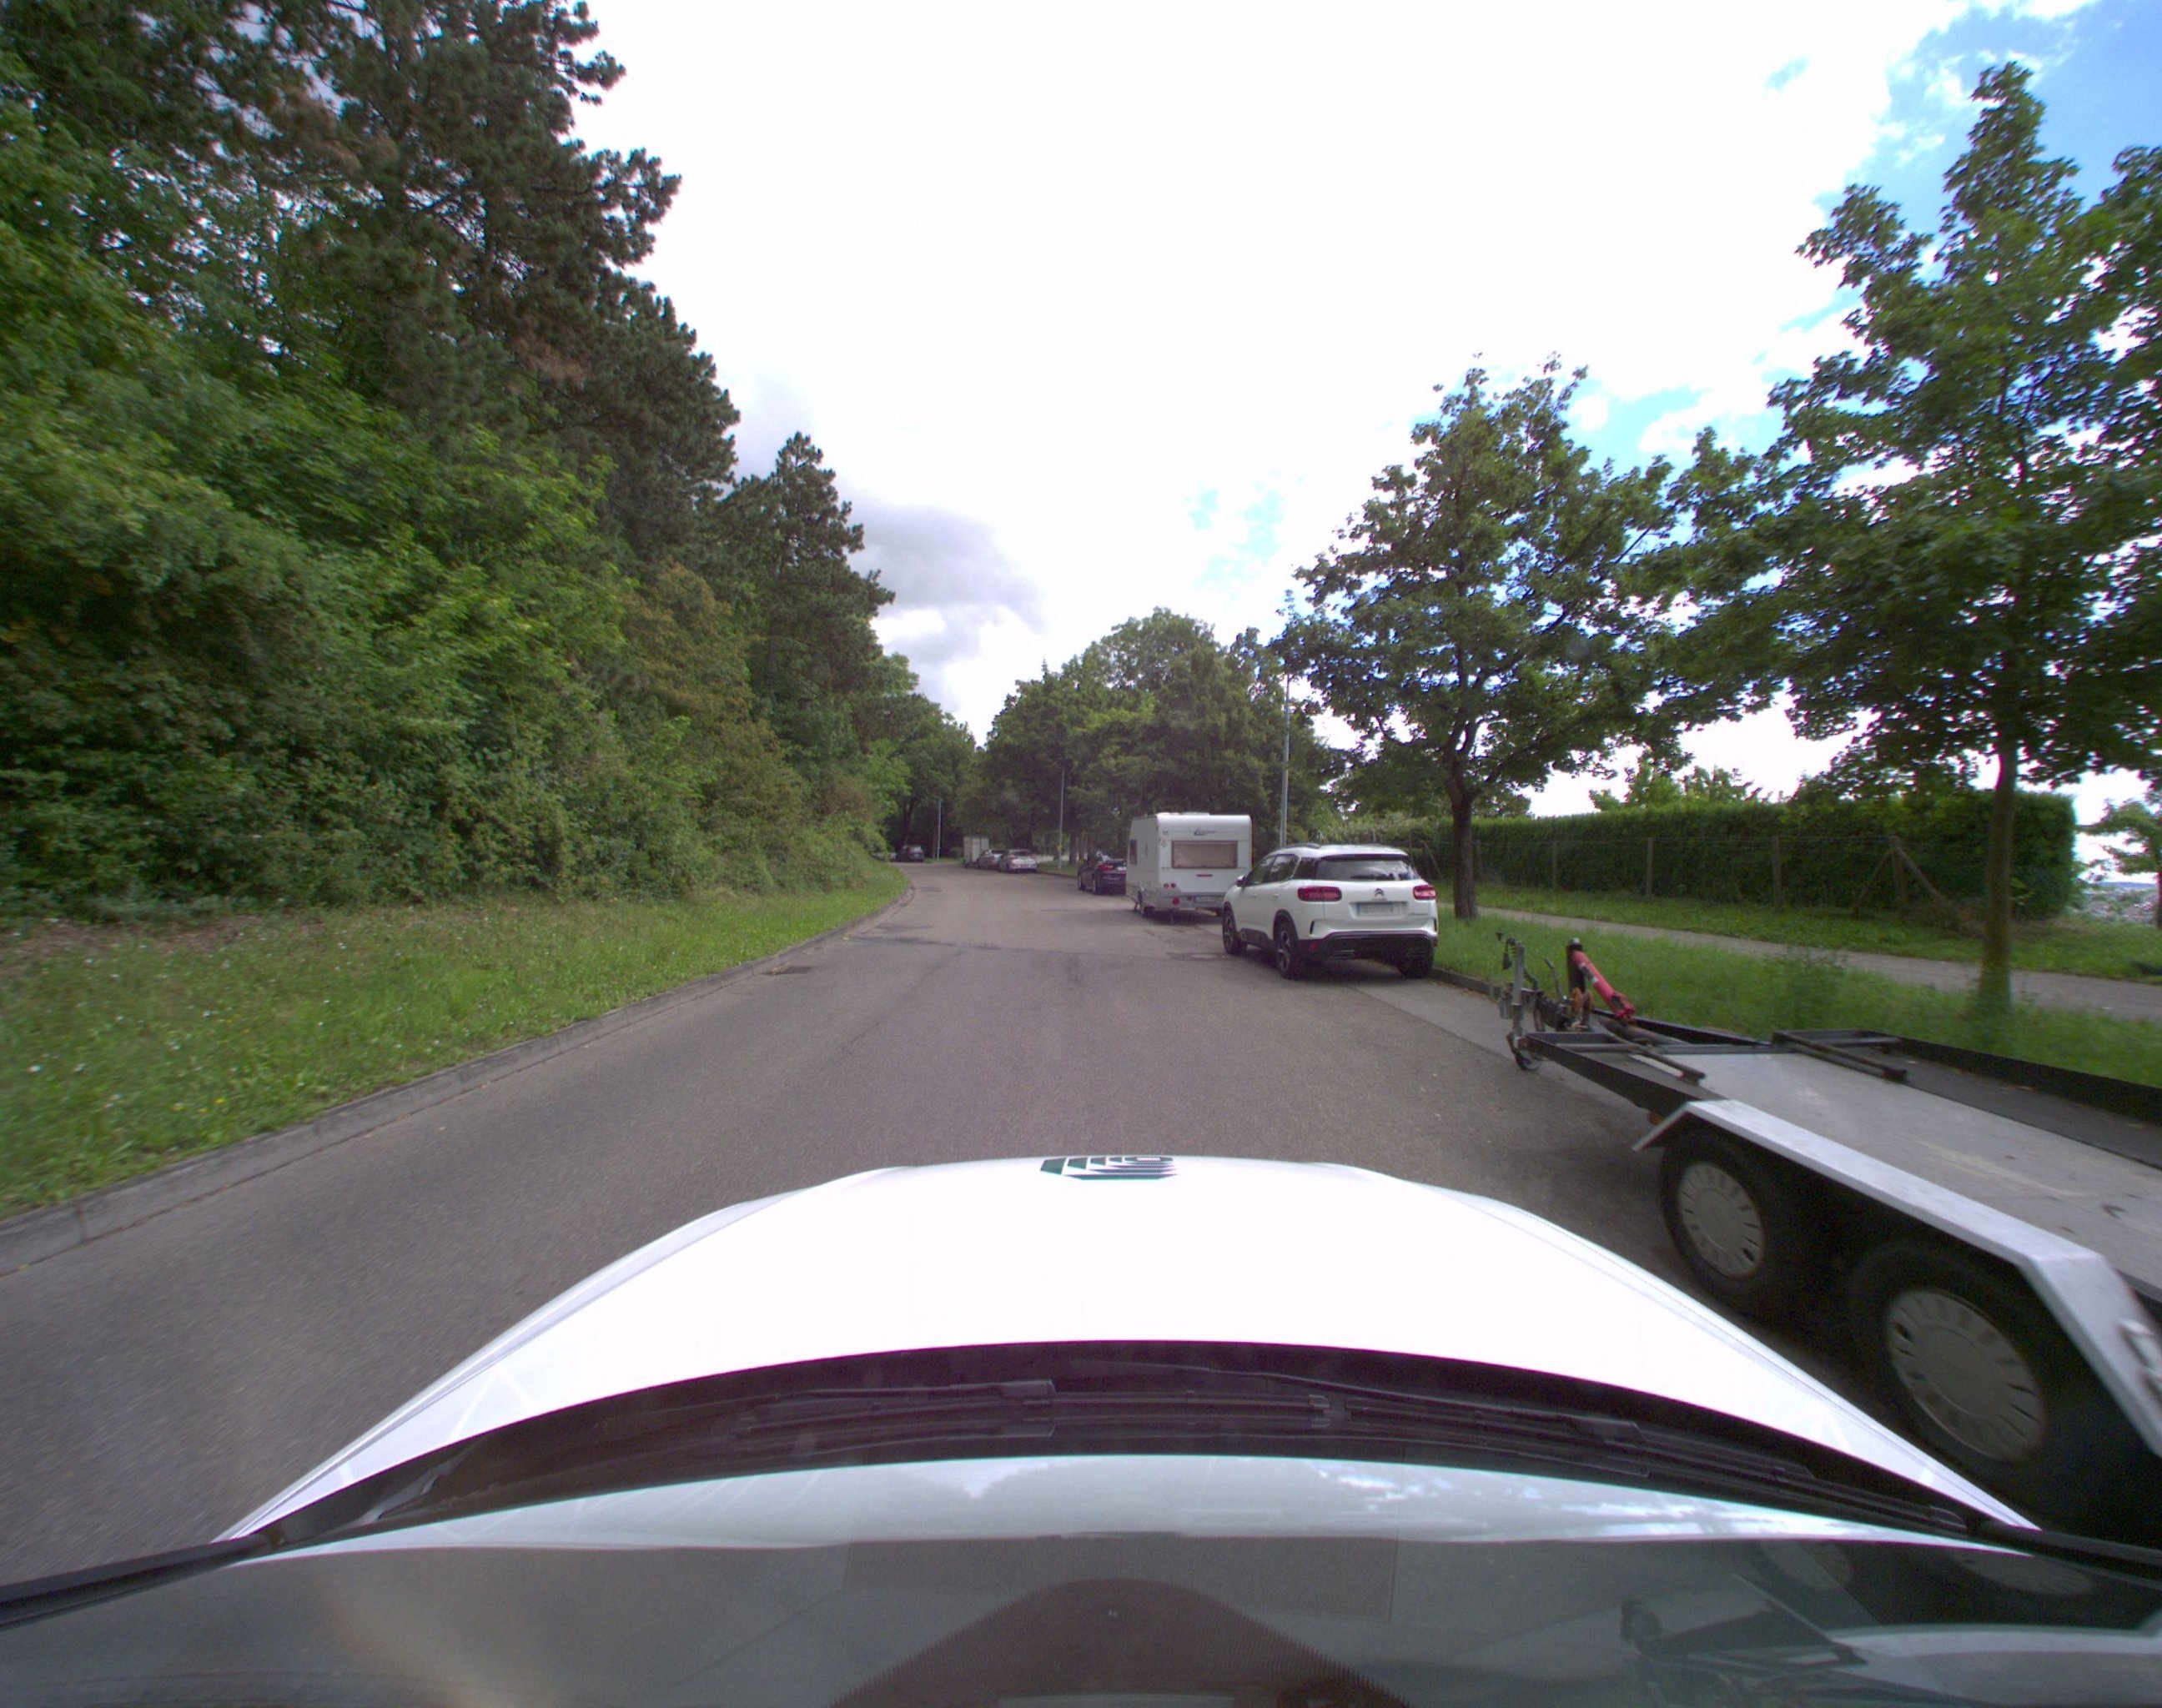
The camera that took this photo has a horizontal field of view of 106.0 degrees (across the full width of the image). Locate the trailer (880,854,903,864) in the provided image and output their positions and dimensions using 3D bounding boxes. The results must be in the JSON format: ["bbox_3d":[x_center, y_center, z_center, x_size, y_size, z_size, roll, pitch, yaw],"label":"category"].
[{"bbox_3d":[-19.684,0.480,84.339,1.365,0.969,3.857,2,0,-28],"label":"trailer"}]

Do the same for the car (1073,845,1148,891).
[{"bbox_3d":[1.023,0.478,31.020,1.849,1.643,4.513,0,0,-11],"label":"car"}]

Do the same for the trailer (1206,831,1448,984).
[{"bbox_3d":[3.223,0.644,11.772,1.769,1.731,4.642,-1,-1,-4],"label":"trailer"}]

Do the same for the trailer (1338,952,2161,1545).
[{"bbox_3d":[3.200,1.108,3.315,2.099,0.651,6.396,1,0,-2],"label":"trailer"}]

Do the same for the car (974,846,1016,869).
[{"bbox_3d":[-6.044,0.242,57.077,1.748,1.525,4.602,0,0,-22],"label":"car"}]

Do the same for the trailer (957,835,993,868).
[{"bbox_3d":[-8.136,-0.232,62.033,1.768,2.427,3.858,0,0,-22],"label":"trailer"}]

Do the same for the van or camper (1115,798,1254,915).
[{"bbox_3d":[2.405,0.081,20.913,2.159,2.536,6.018,1,0,-6],"label":"van or camper"}]

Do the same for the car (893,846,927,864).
[{"bbox_3d":[-16.630,0.113,79.123,1.786,1.663,4.794,2,-1,-30],"label":"car"}]

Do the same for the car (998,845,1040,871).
[{"bbox_3d":[-3.929,0.298,50.893,1.905,1.477,4.038,2,-2,-14],"label":"car"}]
